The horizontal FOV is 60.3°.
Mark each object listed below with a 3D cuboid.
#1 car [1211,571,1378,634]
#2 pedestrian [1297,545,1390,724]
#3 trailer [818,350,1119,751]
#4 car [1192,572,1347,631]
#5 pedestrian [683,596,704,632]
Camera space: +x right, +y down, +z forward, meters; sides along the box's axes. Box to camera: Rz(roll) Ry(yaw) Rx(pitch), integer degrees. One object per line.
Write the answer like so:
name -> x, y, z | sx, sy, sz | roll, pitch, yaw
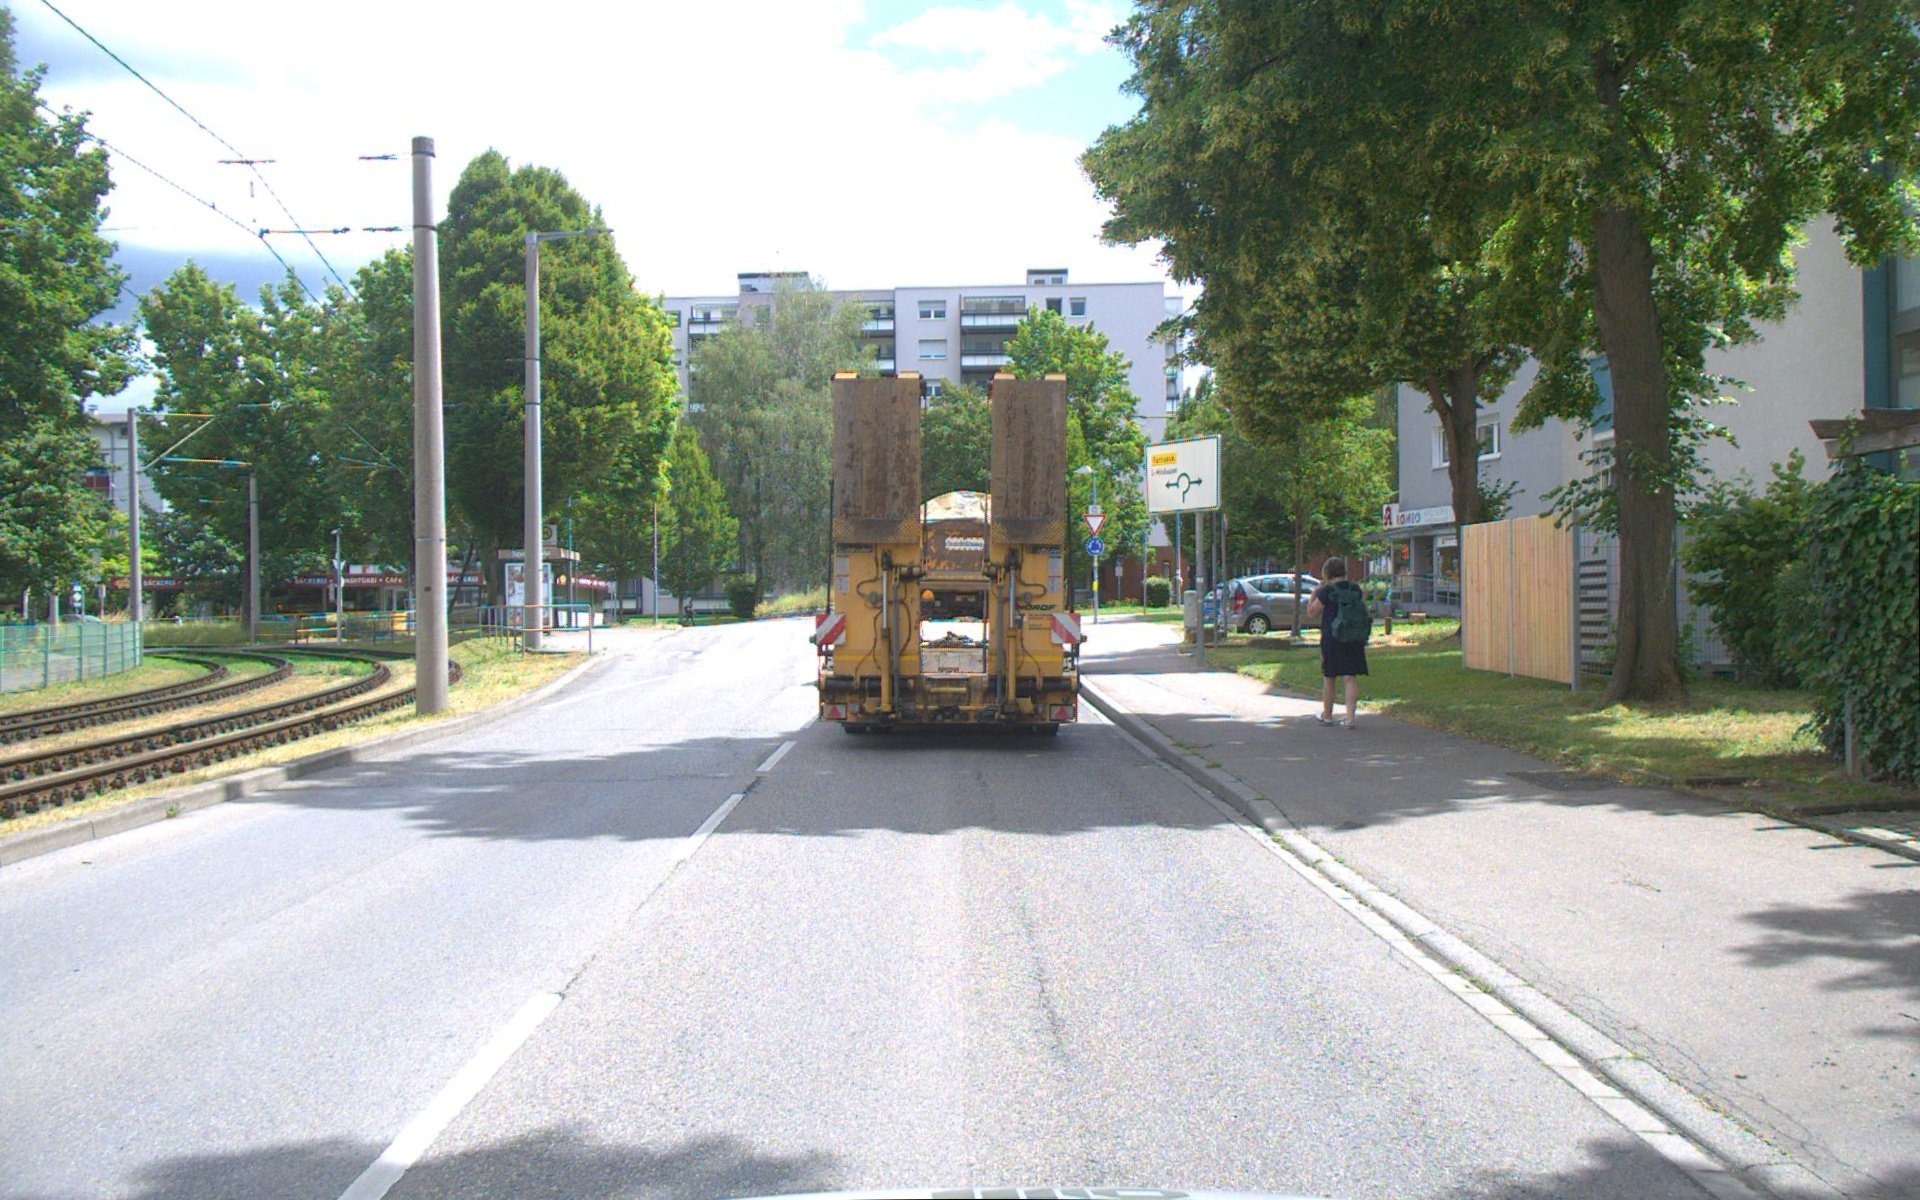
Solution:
car -> 8.710, 0.063, 43.147 | 3.918, 1.588, 1.754 | 1, 0, -13
pedestrian -> 3.837, 0.331, 16.595 | 0.703, 1.736, 0.766 | -2, 1, -1
trailer -> -0.249, -0.511, 21.631 | 2.771, 3.709, 12.346 | 1, 0, -3
car -> 8.691, 0.035, 46.575 | 3.918, 1.588, 1.754 | 1, 0, -13
pedestrian -> -15.413, 0.808, 95.507 | 0.898, 2.049, 0.952 | 1, 0, -31
